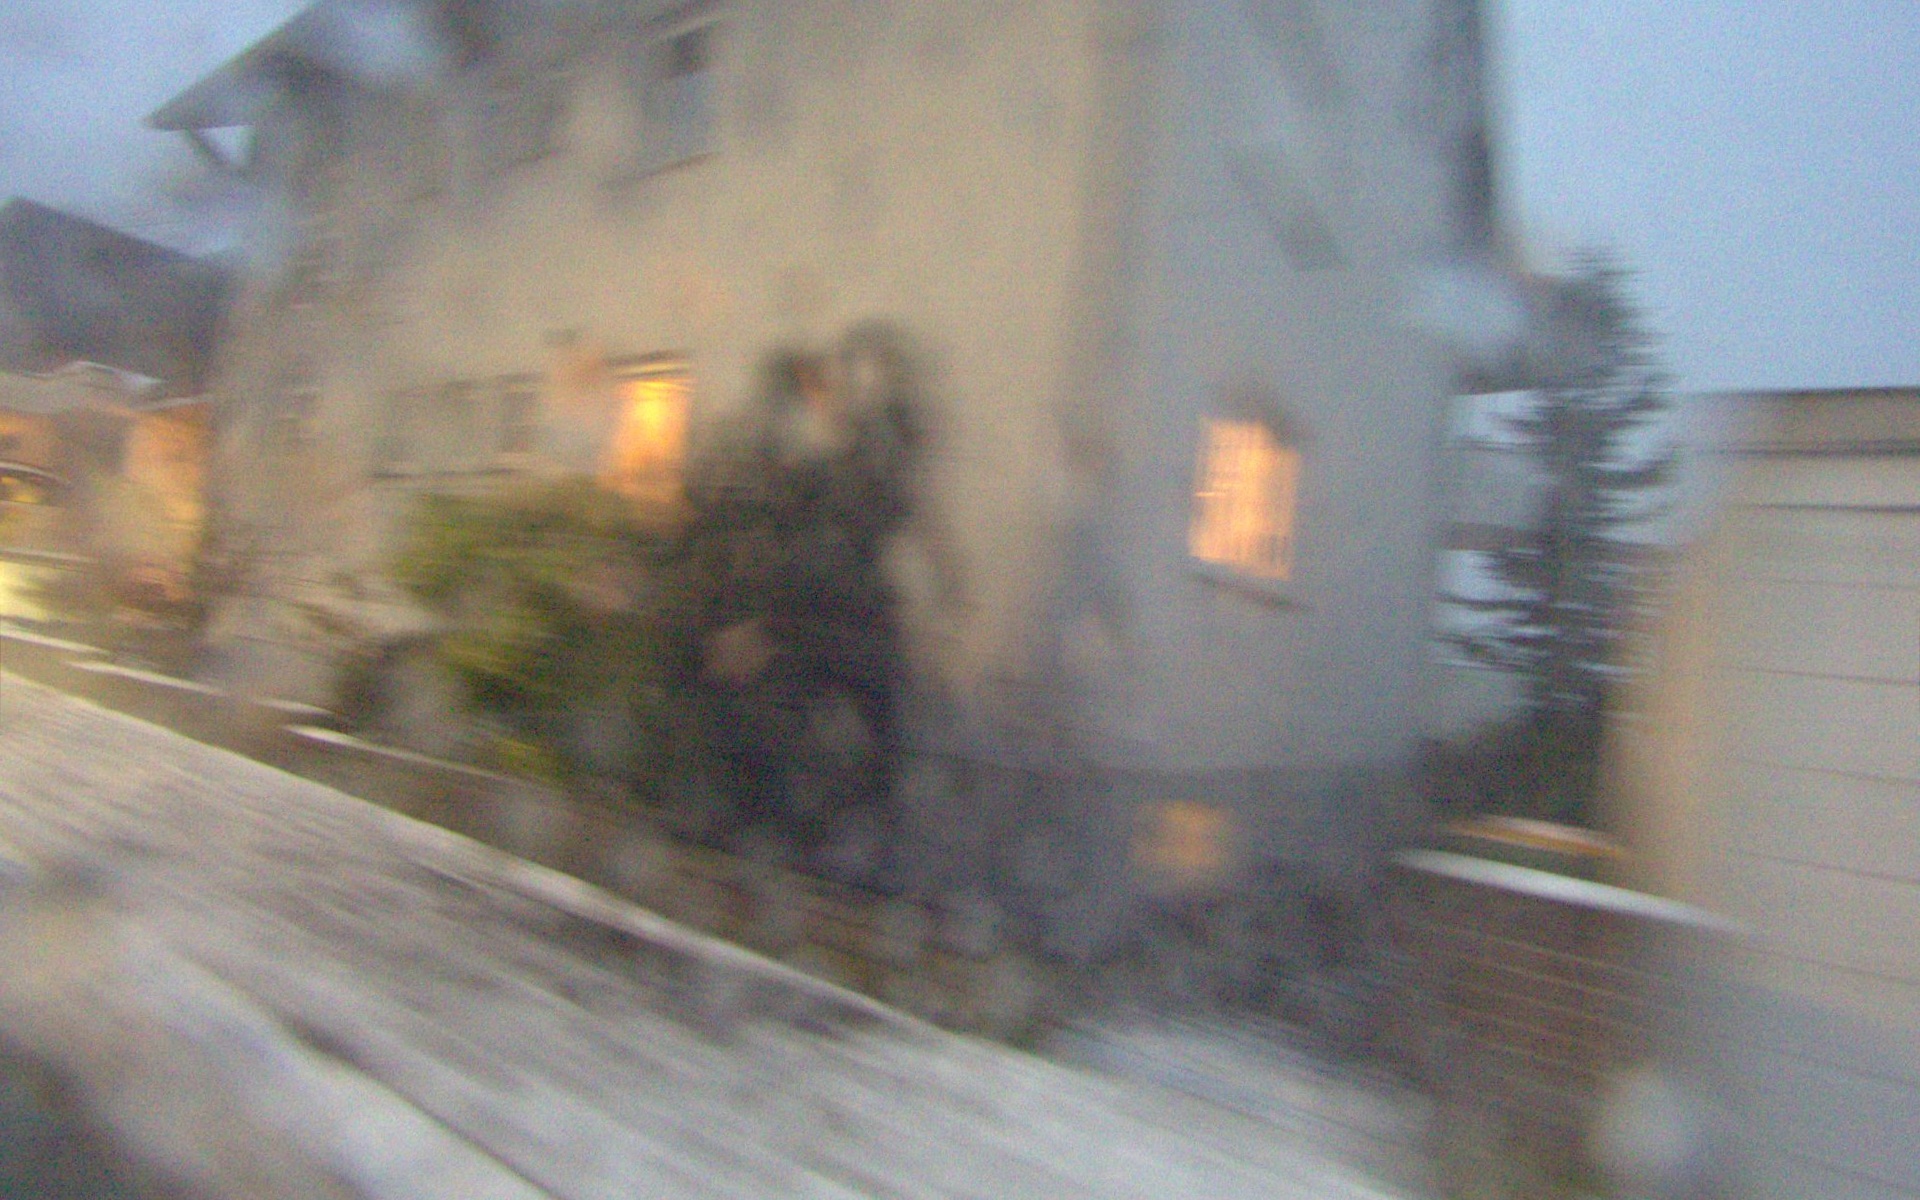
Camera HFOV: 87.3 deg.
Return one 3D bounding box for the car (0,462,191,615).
[{"bbox_3d":[-13.665,-0.984,13.998,1.881,1.880,4.210,6,-2,35],"label":"car"}]
